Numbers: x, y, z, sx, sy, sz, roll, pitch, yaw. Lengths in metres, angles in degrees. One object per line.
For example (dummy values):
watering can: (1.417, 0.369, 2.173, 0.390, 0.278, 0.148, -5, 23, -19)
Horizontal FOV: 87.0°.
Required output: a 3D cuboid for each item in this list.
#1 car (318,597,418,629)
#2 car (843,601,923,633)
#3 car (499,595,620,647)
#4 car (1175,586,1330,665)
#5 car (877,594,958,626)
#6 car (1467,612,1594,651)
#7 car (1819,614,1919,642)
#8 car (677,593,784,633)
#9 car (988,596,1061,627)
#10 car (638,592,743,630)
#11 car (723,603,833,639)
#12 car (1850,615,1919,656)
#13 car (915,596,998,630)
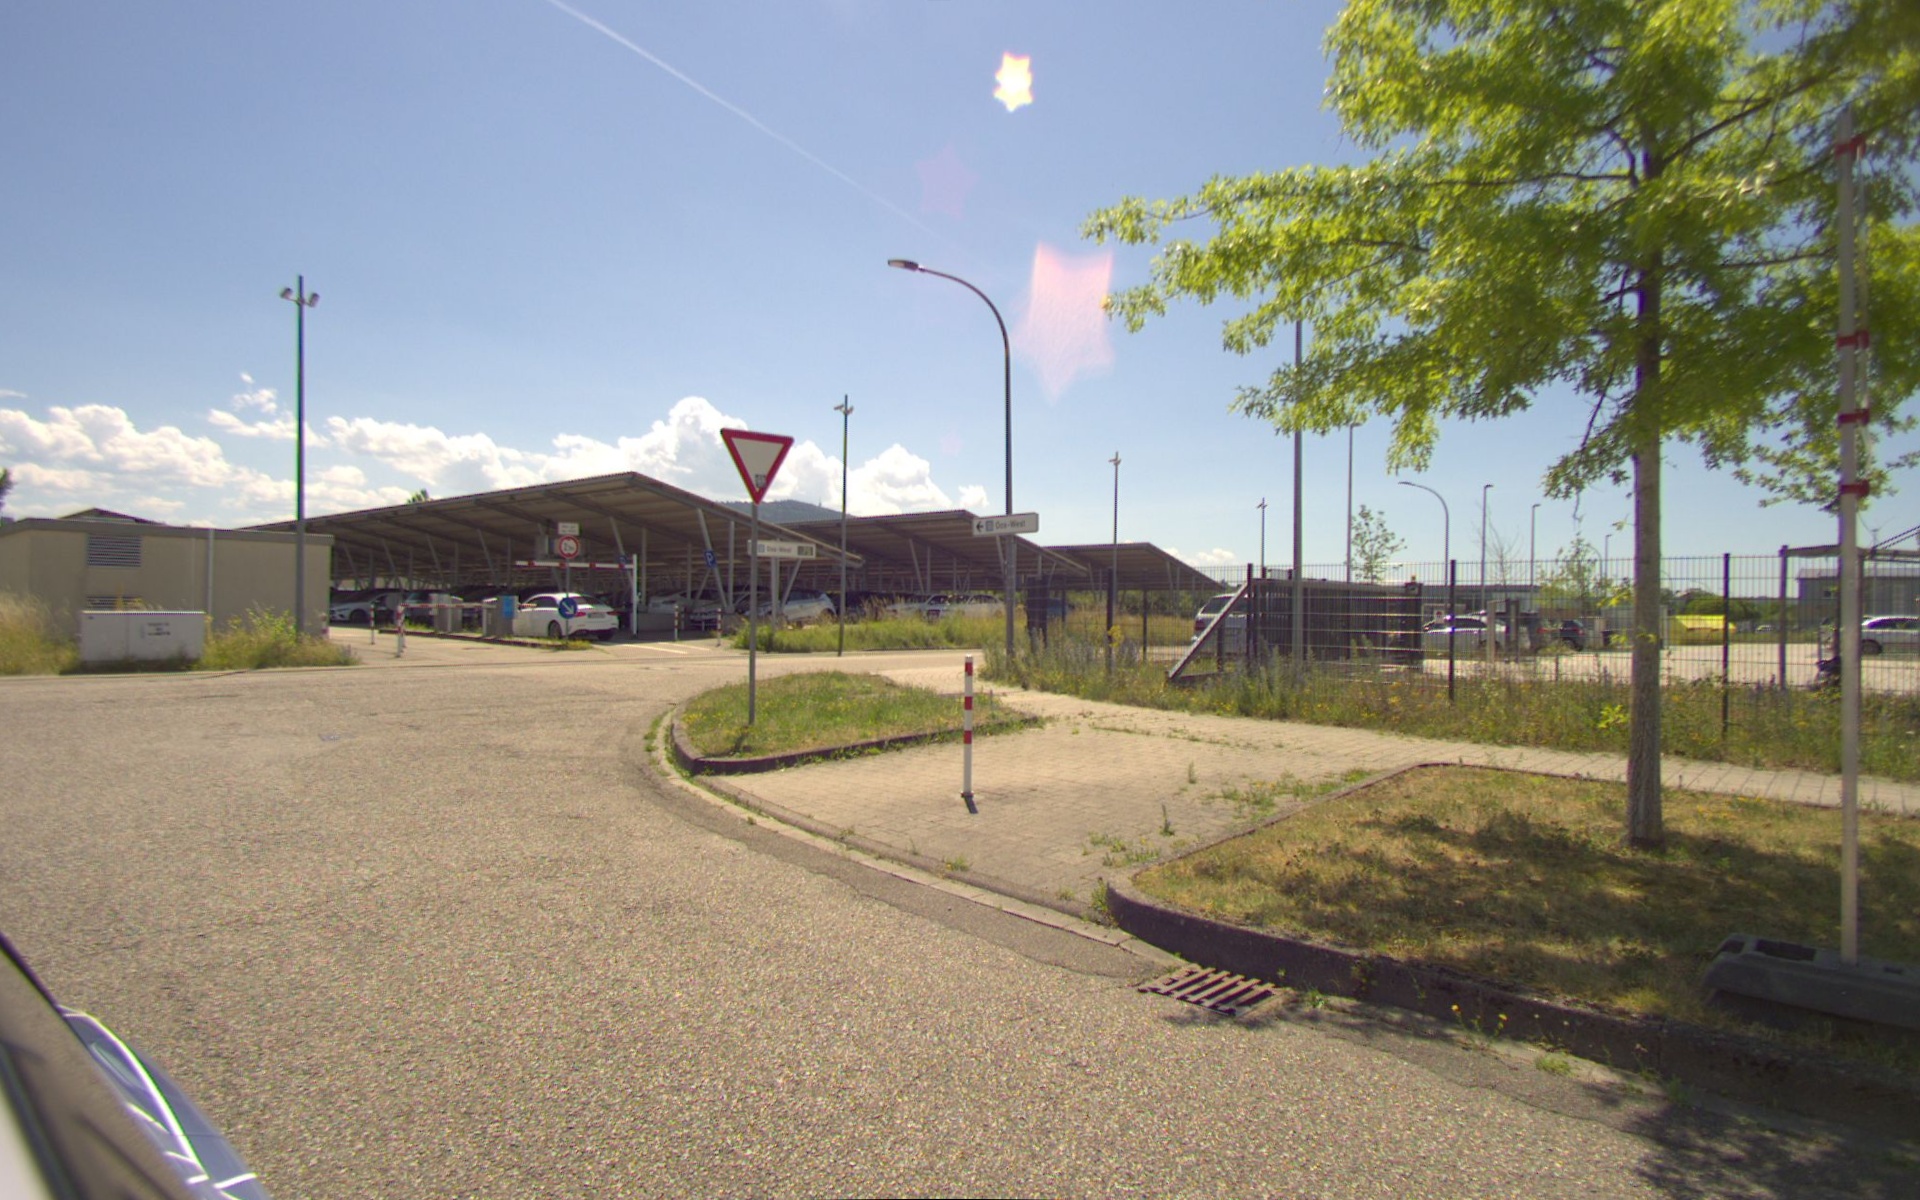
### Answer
car: (-27.932, 0.619, 47.813, 1.721, 1.447, 3.727, 0, -1, 39)
car: (-3.631, 0.814, 47.994, 1.721, 1.447, 3.727, 0, -1, 39)
car: (-11.920, 0.604, 30.062, 3.771, 1.447, 1.701, 0, -1, 39)
car: (6.113, 0.506, 20.933, 1.722, 1.475, 3.631, 0, -1, 41)
car: (-1.931, 0.476, 46.584, 1.721, 1.447, 3.727, 0, -1, 39)
car: (23.982, 1.279, 42.646, 4.403, 1.526, 1.676, 0, -1, 42)
car: (46.855, 1.411, 51.948, 4.163, 1.349, 1.757, 0, -1, 42)
car: (-8.680, 0.507, 38.447, 1.721, 1.447, 3.727, 0, -1, 39)
car: (3.153, 0.586, 49.101, 1.721, 1.447, 3.727, 0, -1, 39)
car: (-10.647, 0.449, 40.105, 1.721, 1.447, 3.727, 0, -1, 39)
car: (-6.557, 0.754, 36.732, 1.721, 1.237, 3.727, 0, -1, 39)
car: (32.779, 1.195, 33.975, 4.337, 1.349, 1.757, 0, -1, 42)
car: (-0.111, 0.585, 44.664, 1.721, 1.447, 3.727, 0, -1, 39)
